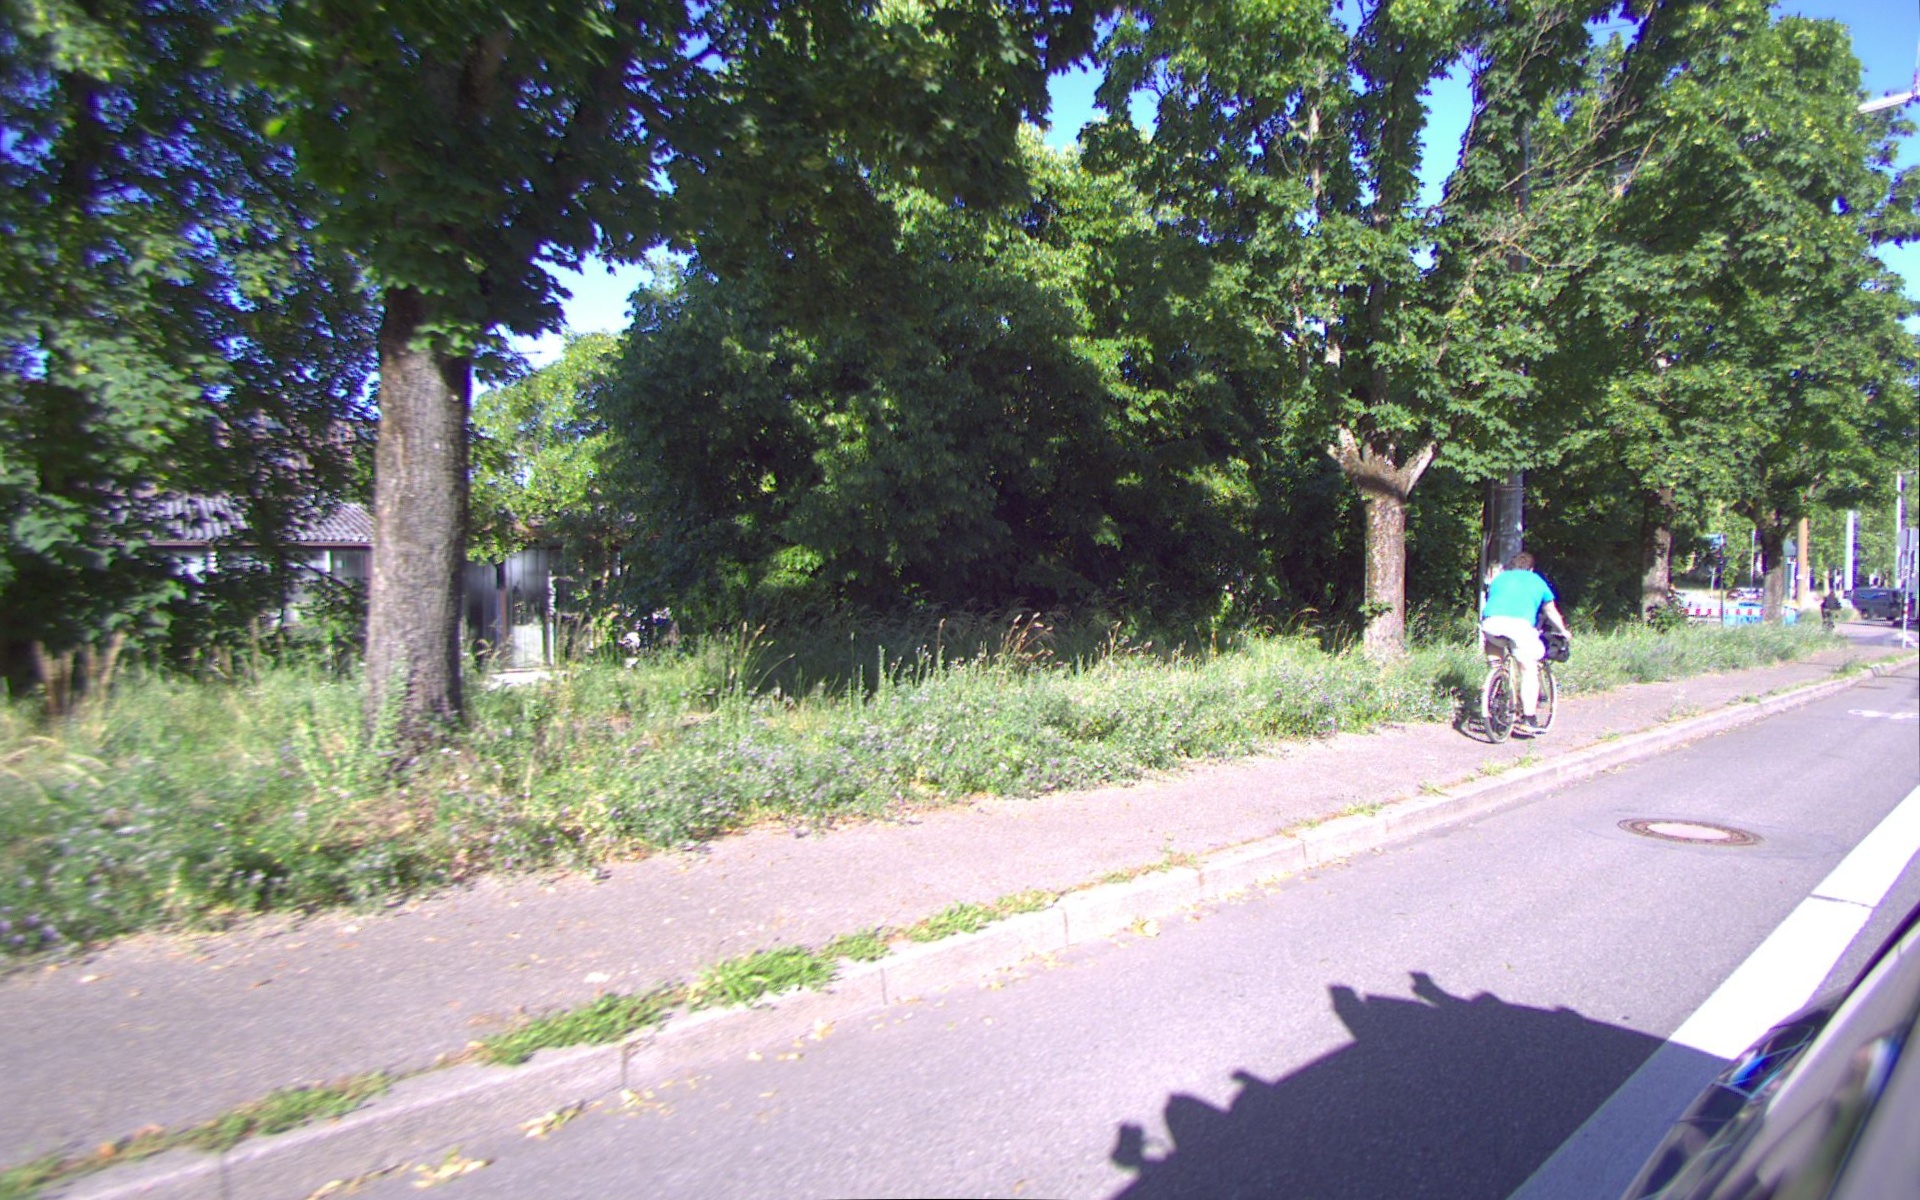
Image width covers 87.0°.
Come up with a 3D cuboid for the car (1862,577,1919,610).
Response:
[{"bbox_3d":[63.386,-0.462,67.157,2.088,2.096,5.127,0,2,-6],"label":"car"}]

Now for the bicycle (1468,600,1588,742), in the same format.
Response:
[{"bbox_3d":[5.303,0.610,9.411,1.692,1.203,0.419,0,2,-42],"label":"bicycle"}]

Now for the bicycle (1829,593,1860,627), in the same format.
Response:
[{"bbox_3d":[32.975,0.359,37.716,2.464,1.205,0.619,0,2,-43],"label":"bicycle"}]

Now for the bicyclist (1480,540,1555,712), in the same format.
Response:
[{"bbox_3d":[5.141,0.224,9.331,0.564,1.525,0.406,0,2,-41],"label":"bicyclist"}]

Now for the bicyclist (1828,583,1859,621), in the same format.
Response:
[{"bbox_3d":[32.720,0.063,37.468,0.793,1.385,0.756,0,2,-43],"label":"bicyclist"}]
